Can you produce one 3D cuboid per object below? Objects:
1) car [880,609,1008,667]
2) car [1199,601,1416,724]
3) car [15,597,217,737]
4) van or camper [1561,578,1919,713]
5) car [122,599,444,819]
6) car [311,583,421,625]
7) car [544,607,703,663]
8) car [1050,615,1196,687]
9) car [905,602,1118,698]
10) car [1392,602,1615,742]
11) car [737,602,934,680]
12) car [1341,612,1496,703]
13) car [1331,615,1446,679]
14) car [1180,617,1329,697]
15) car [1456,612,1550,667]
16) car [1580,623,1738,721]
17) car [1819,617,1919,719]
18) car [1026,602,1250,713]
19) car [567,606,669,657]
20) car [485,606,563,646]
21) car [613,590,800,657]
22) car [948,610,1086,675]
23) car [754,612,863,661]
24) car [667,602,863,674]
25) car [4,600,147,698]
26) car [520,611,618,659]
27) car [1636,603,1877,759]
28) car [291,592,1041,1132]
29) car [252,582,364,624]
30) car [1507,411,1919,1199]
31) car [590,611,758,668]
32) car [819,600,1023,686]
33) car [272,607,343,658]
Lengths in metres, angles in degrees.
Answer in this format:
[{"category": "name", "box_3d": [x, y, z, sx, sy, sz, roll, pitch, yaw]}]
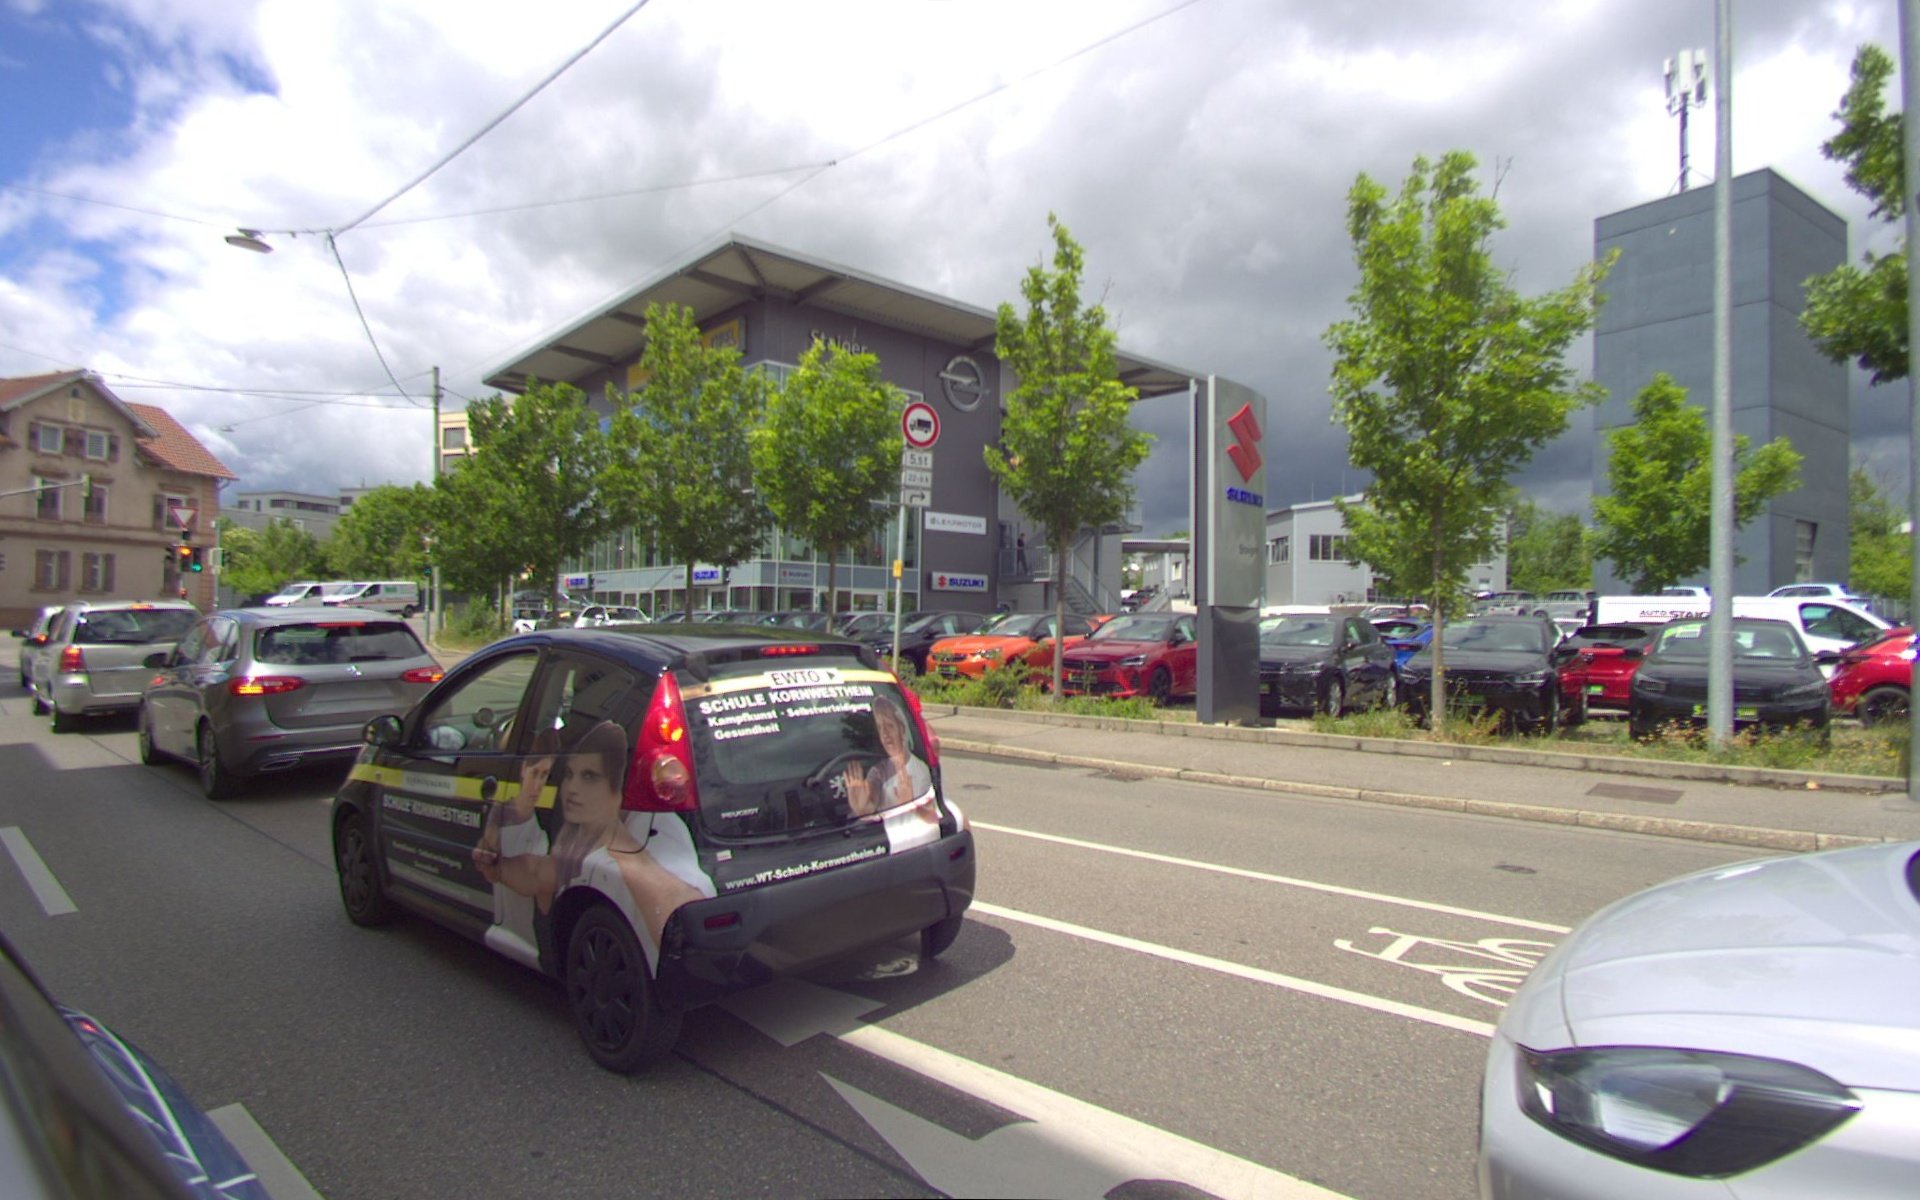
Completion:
[{"category": "car", "box_3d": [-0.356, 0.973, 25.991, 1.517, 1.384, 3.281, -2, -3, 41]}, {"category": "car", "box_3d": [5.081, 0.847, 14.522, 1.810, 1.509, 3.777, -2, -3, 38]}, {"category": "car", "box_3d": [-11.599, 0.767, 13.796, 4.320, 1.593, 1.699, 0, 1, 45]}, {"category": "van or camper", "box_3d": [13.239, 0.770, 17.430, 4.683, 2.029, 1.973, -2, -3, 41]}, {"category": "car", "box_3d": [-6.519, 0.799, 9.539, 4.253, 1.593, 1.699, 0, 1, 45]}, {"category": "car", "box_3d": [-31.035, 0.146, 53.059, 1.983, 2.007, 4.963, -1, 1, 17]}, {"category": "car", "box_3d": [-9.618, 1.011, 29.081, 1.813, 1.509, 3.941, -2, -3, 45]}, {"category": "car", "box_3d": [3.449, 1.037, 21.042, 1.517, 1.384, 3.281, -2, -3, 41]}, {"category": "car", "box_3d": [0.993, 0.857, 17.814, 1.812, 1.509, 3.786, -2, -3, 41]}, {"category": "car", "box_3d": [6.911, 0.833, 12.685, 1.771, 1.472, 3.795, -2, -3, 39]}, {"category": "car", "box_3d": [-2.579, 0.883, 21.713, 1.812, 1.509, 4.012, -2, -3, 41]}, {"category": "car", "box_3d": [7.811, 0.936, 17.104, 1.517, 1.384, 3.281, -2, -3, 41]}, {"category": "car", "box_3d": [9.945, 1.070, 23.399, 1.517, 1.384, 3.281, -2, -3, 41]}, {"category": "car", "box_3d": [5.672, 1.055, 19.304, 1.517, 1.384, 3.281, -2, -3, 41]}, {"category": "car", "box_3d": [21.069, 1.463, 39.229, 3.939, 1.824, 2.003, -3, 2, -42]}, {"category": "car", "box_3d": [10.304, 0.998, 14.835, 1.544, 1.263, 3.427, -2, -3, 41]}, {"category": "car", "box_3d": [13.062, 0.847, 12.668, 3.472, 1.263, 1.524, -2, -3, 40]}, {"category": "car", "box_3d": [2.896, 0.862, 15.900, 1.811, 1.509, 3.809, -2, -3, 40]}, {"category": "car", "box_3d": [-11.669, 1.008, 34.387, 1.919, 1.574, 4.001, -1, 1, -41]}, {"category": "car", "box_3d": [-17.807, 1.021, 41.234, 1.918, 1.485, 4.315, -1, 1, -38]}, {"category": "car", "box_3d": [-6.133, 0.606, 24.866, 1.812, 1.509, 4.162, -2, -3, 41]}, {"category": "car", "box_3d": [1.366, 0.984, 23.472, 1.517, 1.384, 3.281, -2, -3, 41]}, {"category": "car", "box_3d": [-4.512, 1.094, 30.395, 1.517, 1.384, 2.978, -2, -3, 42]}, {"category": "car", "box_3d": [-4.392, 0.878, 23.344, 1.812, 1.509, 4.233, -2, -3, 41]}, {"category": "car", "box_3d": [-16.464, 0.810, 18.775, 4.002, 1.593, 1.699, 0, 1, 45]}, {"category": "car", "box_3d": [-14.654, 1.260, 37.847, 1.920, 1.574, 4.310, -1, 1, -44]}, {"category": "car", "box_3d": [8.668, 0.816, 11.259, 1.791, 1.420, 3.665, -2, -3, 35]}, {"category": "car", "box_3d": [-1.480, 0.729, 4.562, 3.320, 1.495, 1.701, 0, 1, 40]}, {"category": "car", "box_3d": [-34.339, 0.133, 53.439, 1.983, 2.026, 4.789, -1, 2, 18]}, {"category": "car", "box_3d": [2.839, 0.567, 0.789, 3.997, 1.593, 1.701, 0, 1, 40]}, {"category": "car", "box_3d": [-7.668, 1.066, 27.365, 1.813, 1.405, 4.020, -2, -3, 45]}, {"category": "car", "box_3d": [-0.684, 0.832, 19.910, 1.812, 1.509, 3.939, -2, -3, 41]}, {"category": "car", "box_3d": [-21.637, 1.038, 33.483, 1.696, 1.508, 4.474, 3, -2, -36]}]
